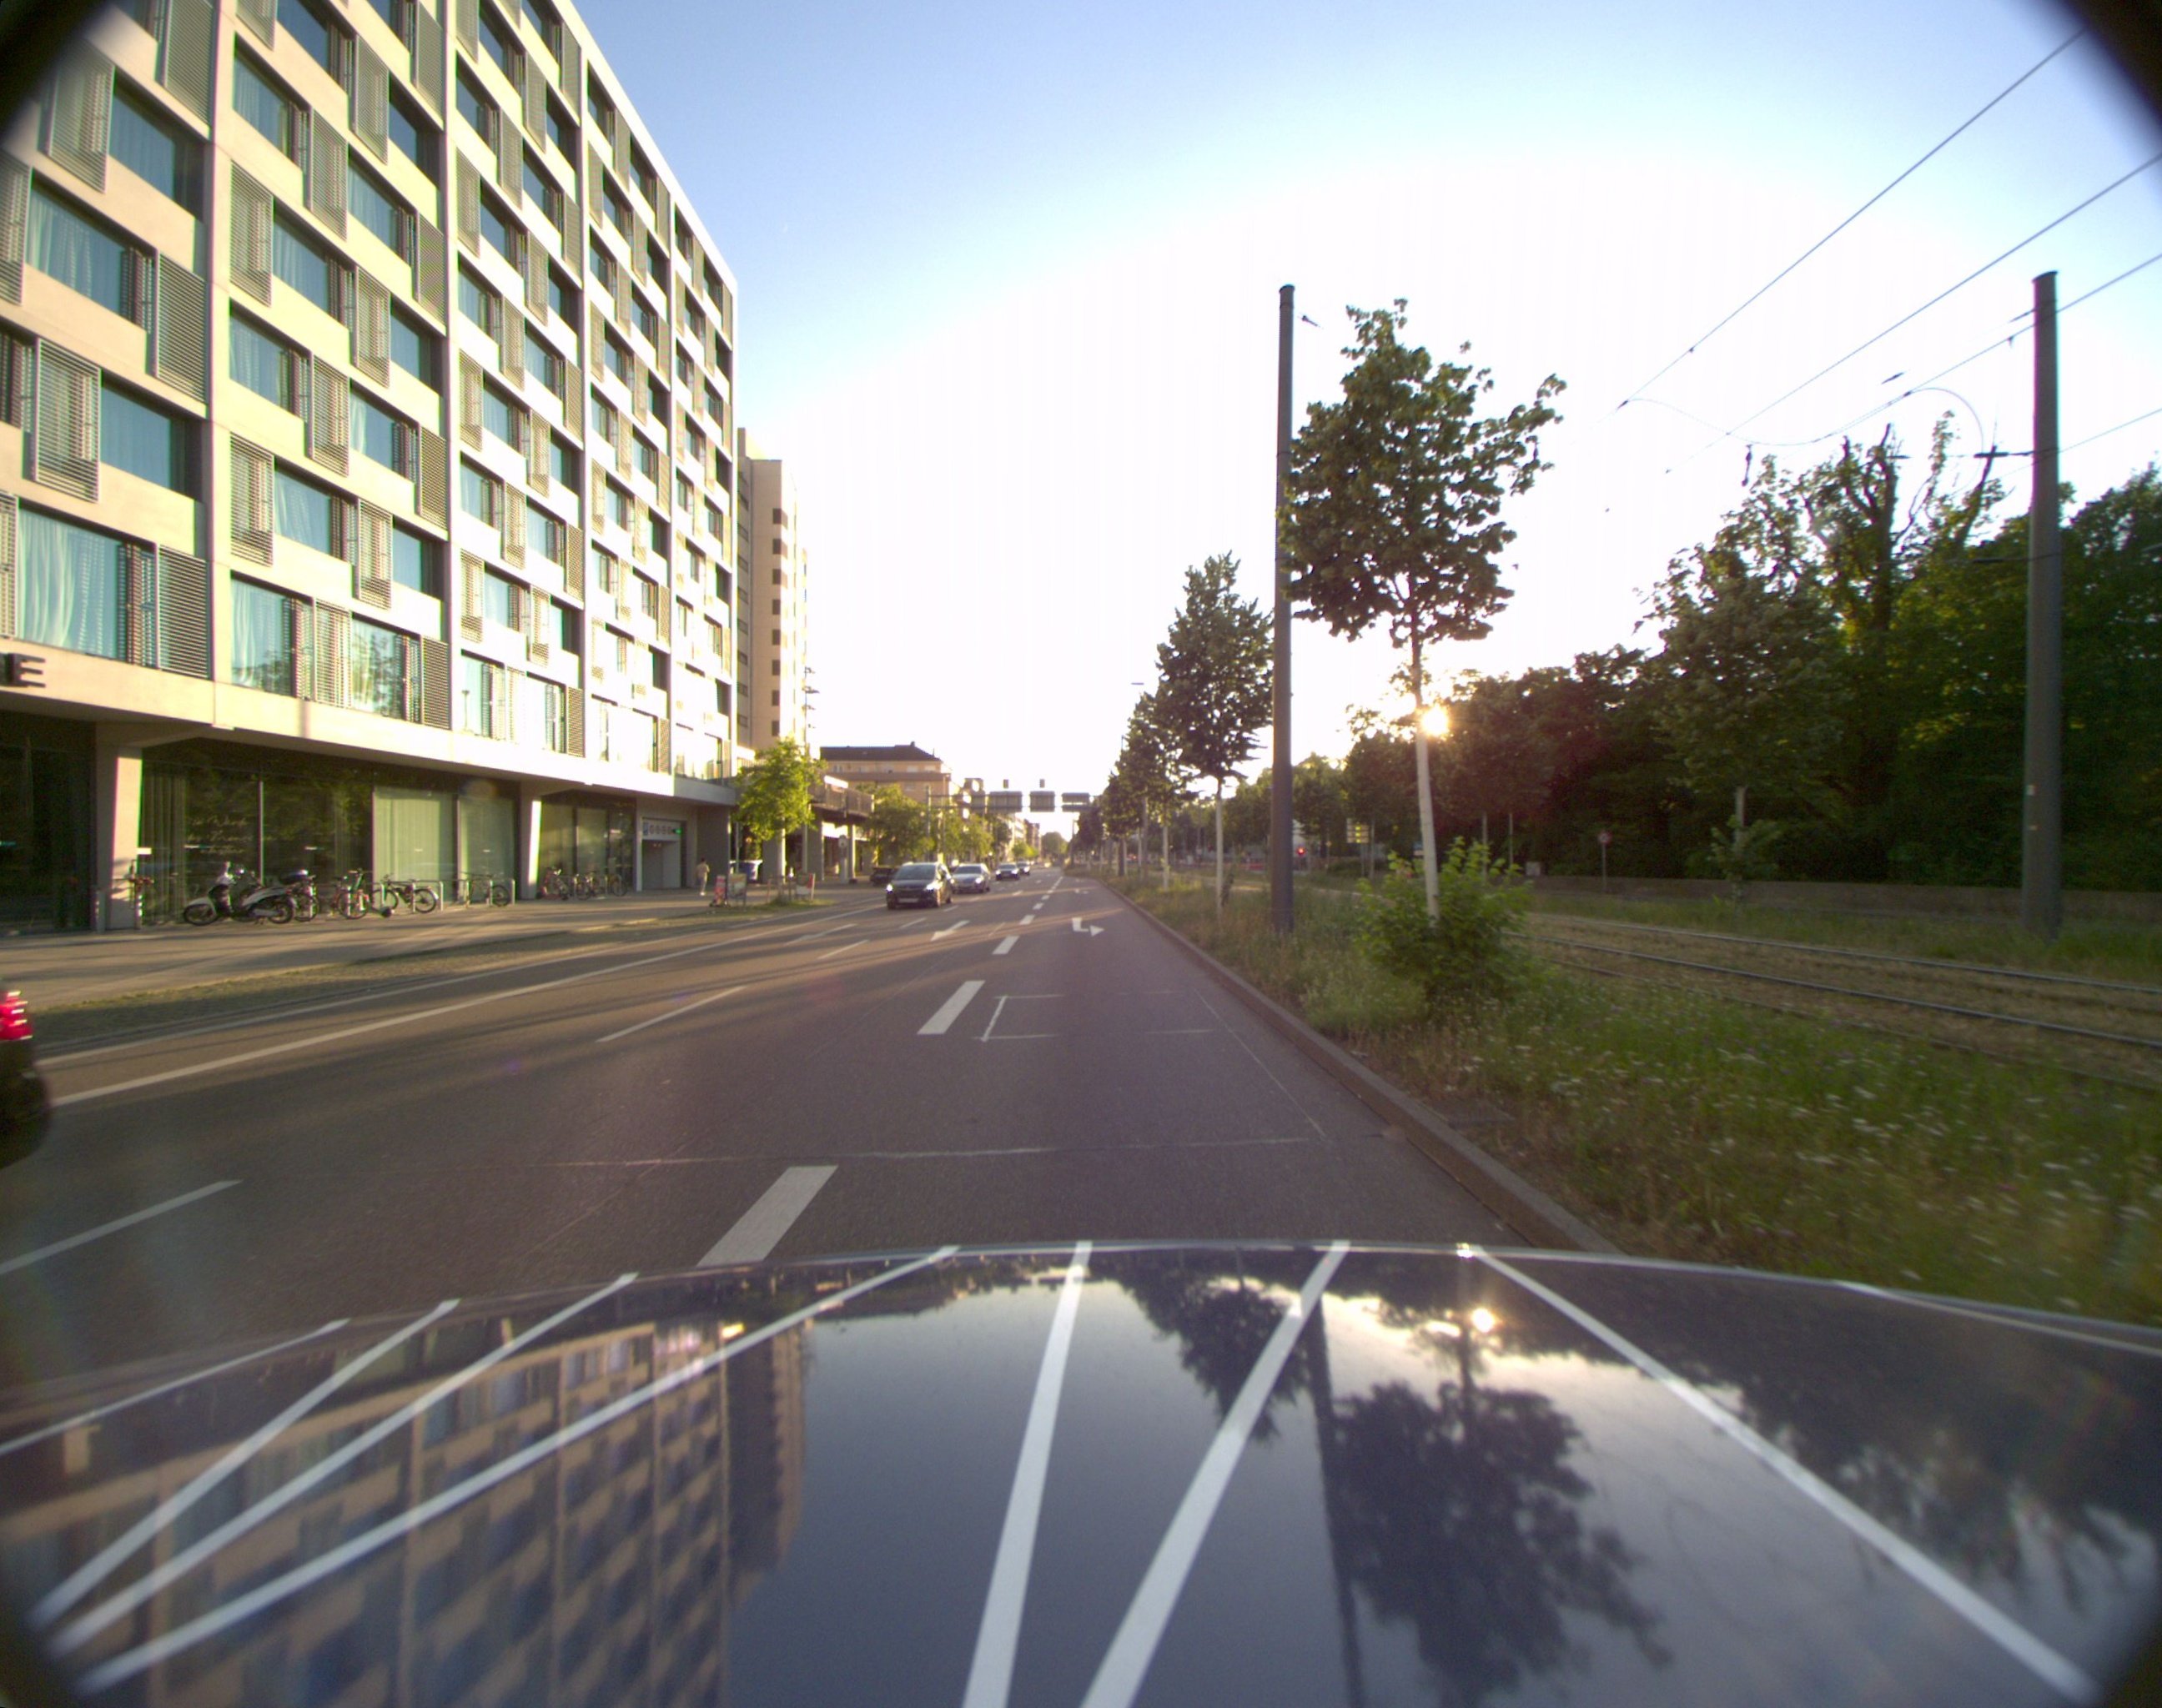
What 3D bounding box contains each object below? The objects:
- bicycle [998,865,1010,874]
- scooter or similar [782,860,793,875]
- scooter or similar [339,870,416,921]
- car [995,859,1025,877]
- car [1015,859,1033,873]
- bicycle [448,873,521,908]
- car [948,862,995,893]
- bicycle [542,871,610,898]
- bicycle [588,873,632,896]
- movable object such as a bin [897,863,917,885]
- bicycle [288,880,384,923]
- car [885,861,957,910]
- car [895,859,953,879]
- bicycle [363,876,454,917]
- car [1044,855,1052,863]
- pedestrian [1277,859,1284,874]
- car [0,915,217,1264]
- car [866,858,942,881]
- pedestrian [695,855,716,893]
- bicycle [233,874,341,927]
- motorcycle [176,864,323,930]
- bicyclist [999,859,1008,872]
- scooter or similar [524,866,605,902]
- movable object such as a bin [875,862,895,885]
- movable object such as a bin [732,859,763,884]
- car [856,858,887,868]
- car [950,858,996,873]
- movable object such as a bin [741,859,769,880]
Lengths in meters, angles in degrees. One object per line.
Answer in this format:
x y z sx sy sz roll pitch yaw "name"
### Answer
-9.898 2.002 97.475 0.821 1.166 2.143 1 0 -29 "bicycle"
-22.823 1.052 59.011 0.402 1.154 1.829 -2 0 -10 "scooter or similar"
-17.654 1.031 19.084 1.271 1.226 0.608 2 0 -5 "scooter or similar"
-5.962 1.172 64.218 1.915 1.387 4.277 -2 0 1 "car"
-6.124 1.302 81.419 1.863 1.387 4.275 -2 0 -4 "car"
-18.146 1.106 23.140 1.704 0.980 0.551 2 0 -4 "bicycle"
-5.612 1.164 39.338 1.833 1.455 4.302 -2 0 -1 "car"
-18.732 1.137 28.190 2.022 0.952 0.620 1 0 -7 "bicycle"
-18.393 1.197 29.666 1.425 0.886 0.457 0 0 -1 "bicycle"
-10.931 1.236 47.766 1.088 1.294 1.360 2 0 -7 "movable object such as a bin"
-18.062 1.143 18.443 1.704 0.980 0.551 2 0 -4 "bicycle"
-5.847 1.104 28.256 1.828 1.589 4.366 -2 0 -2 "car"
-12.188 1.156 59.203 4.000 1.408 1.746 2 0 -38 "car"
-18.065 1.127 20.436 1.890 1.004 0.565 2 0 -2 "bicycle"
-8.189 1.142 188.735 1.727 1.909 4.293 -2 0 -4 "car"
22.004 1.411 83.688 0.670 1.597 0.679 -2 -4 13 "pedestrian"
-5.831 1.114 1.886 1.825 1.510 4.791 -2 0 1 "car"
-12.201 1.085 52.603 4.680 1.499 1.934 2 0 -40 "car"
-16.116 0.870 32.626 0.578 1.609 0.643 2 0 -4 "pedestrian"
-18.285 1.070 17.528 1.612 1.148 0.611 2 0 -13 "bicycle"
-18.184 0.939 16.671 2.120 1.378 0.671 1 -1 -15 "motorcycle"
-9.897 1.453 97.487 0.821 1.682 0.959 1 0 -29 "bicyclist"
-18.073 1.044 26.612 2.378 1.176 0.620 1 0 -1 "scooter or similar"
-12.291 1.220 47.648 1.017 1.339 1.160 2 0 -5 "movable object such as a bin"
-18.660 0.961 42.544 1.108 1.322 1.283 2 0 -1 "movable object such as a bin"
-31.838 1.388 115.606 4.227 1.432 1.655 0 3 -5 "car"
-11.529 1.254 81.342 4.617 1.444 1.808 2 -1 -41 "car"
-20.082 0.950 46.863 1.185 1.291 1.304 0 0 -2 "movable object such as a bin"
